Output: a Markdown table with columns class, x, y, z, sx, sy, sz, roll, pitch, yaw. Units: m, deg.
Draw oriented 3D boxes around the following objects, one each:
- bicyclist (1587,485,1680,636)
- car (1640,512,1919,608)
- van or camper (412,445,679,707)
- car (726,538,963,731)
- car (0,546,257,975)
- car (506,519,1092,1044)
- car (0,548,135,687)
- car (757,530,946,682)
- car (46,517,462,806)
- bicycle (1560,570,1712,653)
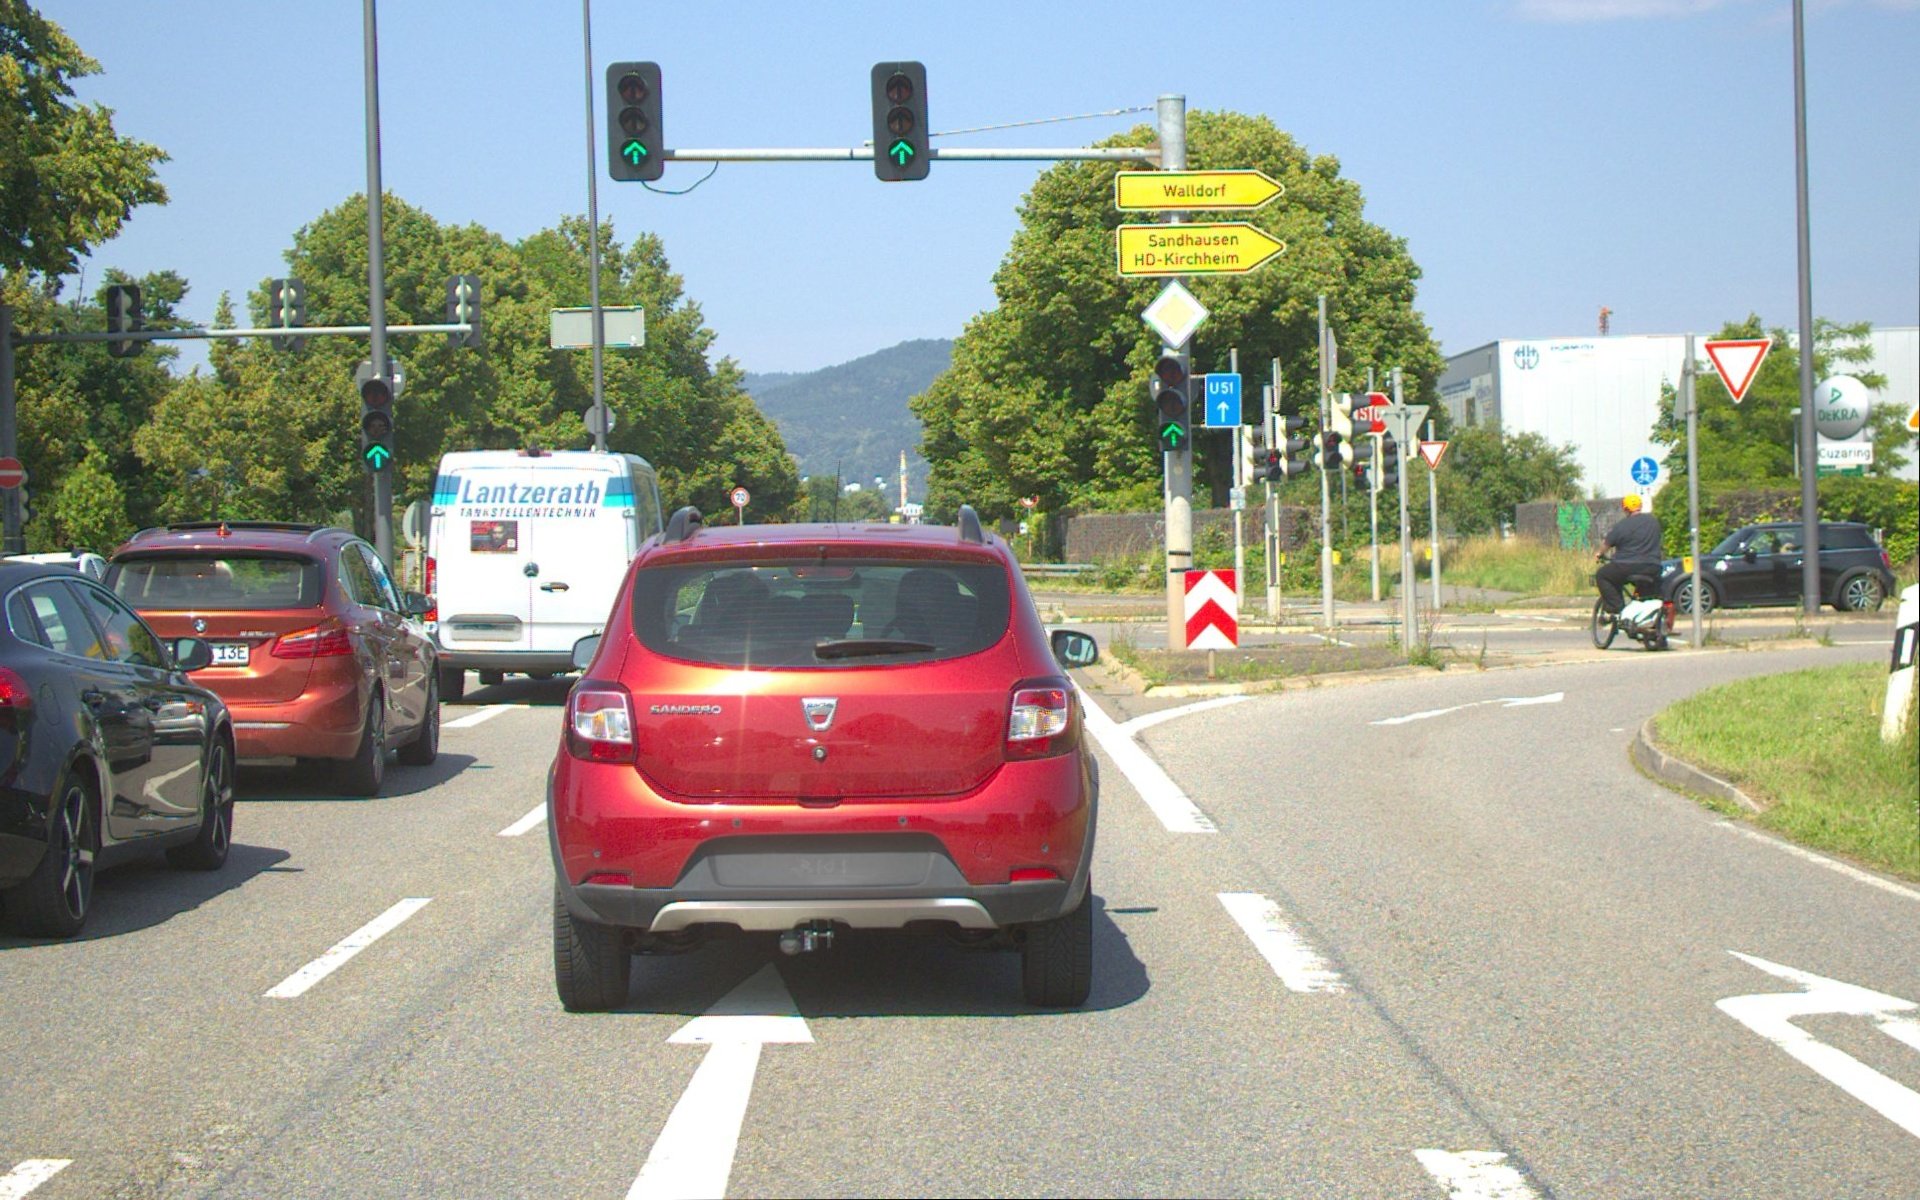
| class | x | y | z | sx | sy | sz | roll | pitch | yaw |
| --- | --- | --- | --- | --- | --- | --- | --- | --- | --- |
| bicyclist | 8.018 | -0.473 | 40.971 | 0.802 | 1.765 | 0.809 | -2 | 1 | -11 |
| car | 12.315 | -0.612 | 51.561 | 3.988 | 1.322 | 1.806 | -1 | 1 | 7 |
| van or camper | -3.829 | -0.254 | 32.582 | 2.179 | 2.295 | 4.827 | 0 | 1 | -3 |
| car | -0.885 | 0.232 | 28.198 | 1.749 | 1.453 | 3.676 | 0 | 1 | 1 |
| car | -4.104 | 0.526 | 13.938 | 1.702 | 1.437 | 3.956 | 0 | 2 | 0 |
| car | -0.451 | 0.505 | 12.112 | 1.749 | 1.570 | 3.676 | 0 | 1 | 1 |
| car | -11.628 | 0.190 | 43.383 | 1.745 | 1.633 | 4.137 | -2 | 1 | -5 |
| car | -1.064 | 0.024 | 35.278 | 1.749 | 1.453 | 3.676 | 0 | 1 | 1 |
| car | -4.206 | 0.300 | 21.064 | 1.724 | 1.594 | 3.955 | 0 | 1 | 0 |
| bicycle | 8.037 | 0.122 | 41.009 | 0.761 | 0.911 | 2.780 | -2 | 1 | -11 |
